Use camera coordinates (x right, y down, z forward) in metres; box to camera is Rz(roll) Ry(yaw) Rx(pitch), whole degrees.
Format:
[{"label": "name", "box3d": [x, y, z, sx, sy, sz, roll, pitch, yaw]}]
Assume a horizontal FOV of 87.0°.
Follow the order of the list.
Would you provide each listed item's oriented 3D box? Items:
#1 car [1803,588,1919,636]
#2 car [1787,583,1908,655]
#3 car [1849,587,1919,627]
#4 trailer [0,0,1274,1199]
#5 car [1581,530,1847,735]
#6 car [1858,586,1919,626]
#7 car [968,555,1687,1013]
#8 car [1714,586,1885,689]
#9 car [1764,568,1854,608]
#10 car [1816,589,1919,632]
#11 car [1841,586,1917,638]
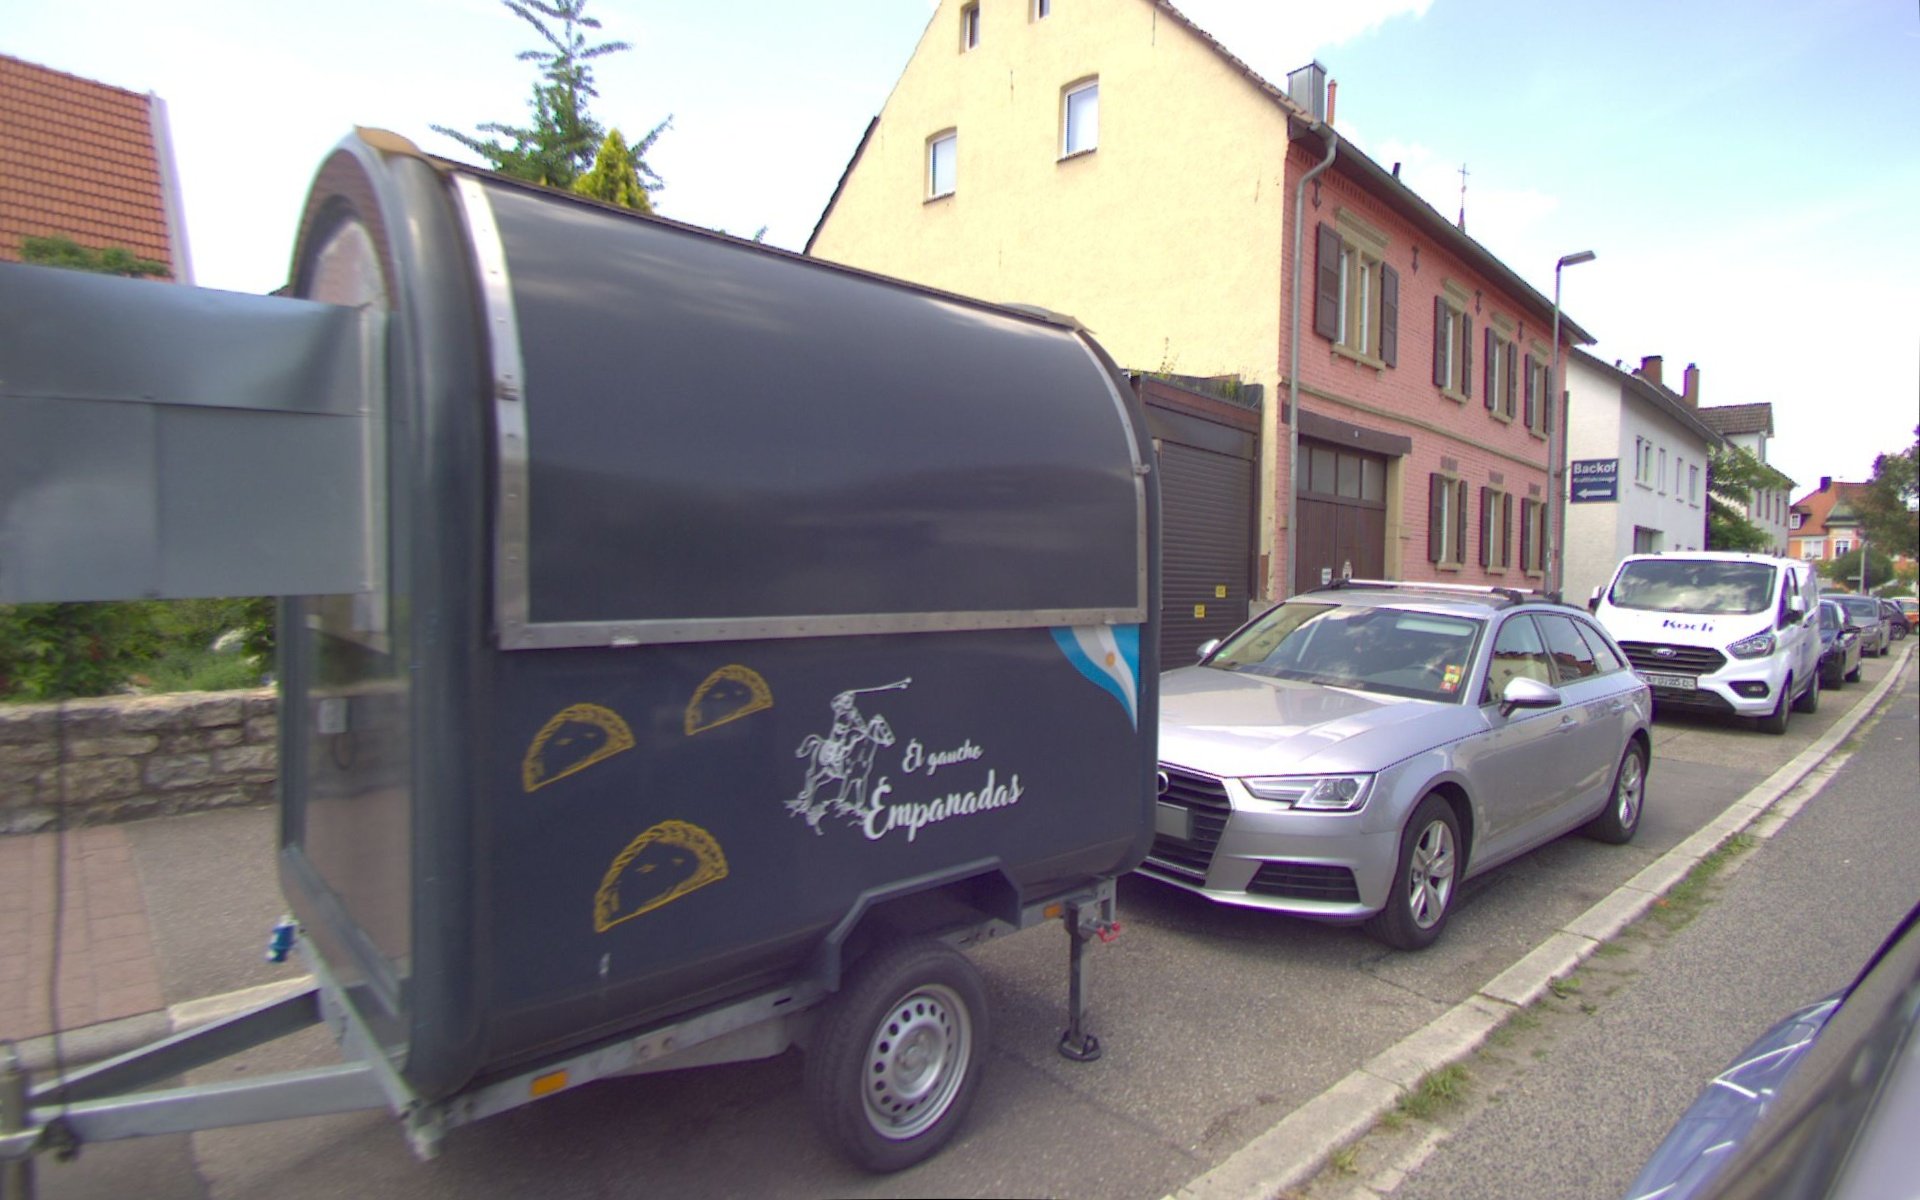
[{"label": "car", "box3d": [34.030, 0.431, 37.934, 3.198, 1.523, 1.814, 4, 2, 21]}, {"label": "car", "box3d": [23.772, 0.445, 27.057, 4.250, 1.701, 1.996, 0, 2, -43]}, {"label": "car", "box3d": [40.896, 0.307, 43.818, 1.697, 1.596, 3.382, 0, 3, -43]}, {"label": "trailer", "box3d": [-0.977, 0.096, 2.565, 3.530, 2.383, 1.847, 0, 2, -44]}, {"label": "car", "box3d": [9.486, 0.274, 12.555, 1.894, 2.006, 4.852, 6, 4, 44]}, {"label": "car", "box3d": [42.858, 0.306, 45.303, 3.850, 1.596, 1.822, 5, 6, 44]}, {"label": "car", "box3d": [2.361, 0.582, 5.650, 4.596, 1.500, 1.878, 0, 3, -43]}, {"label": "car", "box3d": [14.898, 0.576, 17.889, 4.092, 1.513, 1.777, 0, 4, -43]}, {"label": "car", "box3d": [67.615, -0.924, 80.586, 6.967, 2.999, 2.767, 0, 3, -26]}, {"label": "car", "box3d": [35.940, 0.401, 39.977, 2.758, 1.523, 1.863, 3, 2, 24]}, {"label": "car", "box3d": [31.732, 0.372, 34.905, 4.202, 1.644, 1.664, 0, 2, -45]}]
